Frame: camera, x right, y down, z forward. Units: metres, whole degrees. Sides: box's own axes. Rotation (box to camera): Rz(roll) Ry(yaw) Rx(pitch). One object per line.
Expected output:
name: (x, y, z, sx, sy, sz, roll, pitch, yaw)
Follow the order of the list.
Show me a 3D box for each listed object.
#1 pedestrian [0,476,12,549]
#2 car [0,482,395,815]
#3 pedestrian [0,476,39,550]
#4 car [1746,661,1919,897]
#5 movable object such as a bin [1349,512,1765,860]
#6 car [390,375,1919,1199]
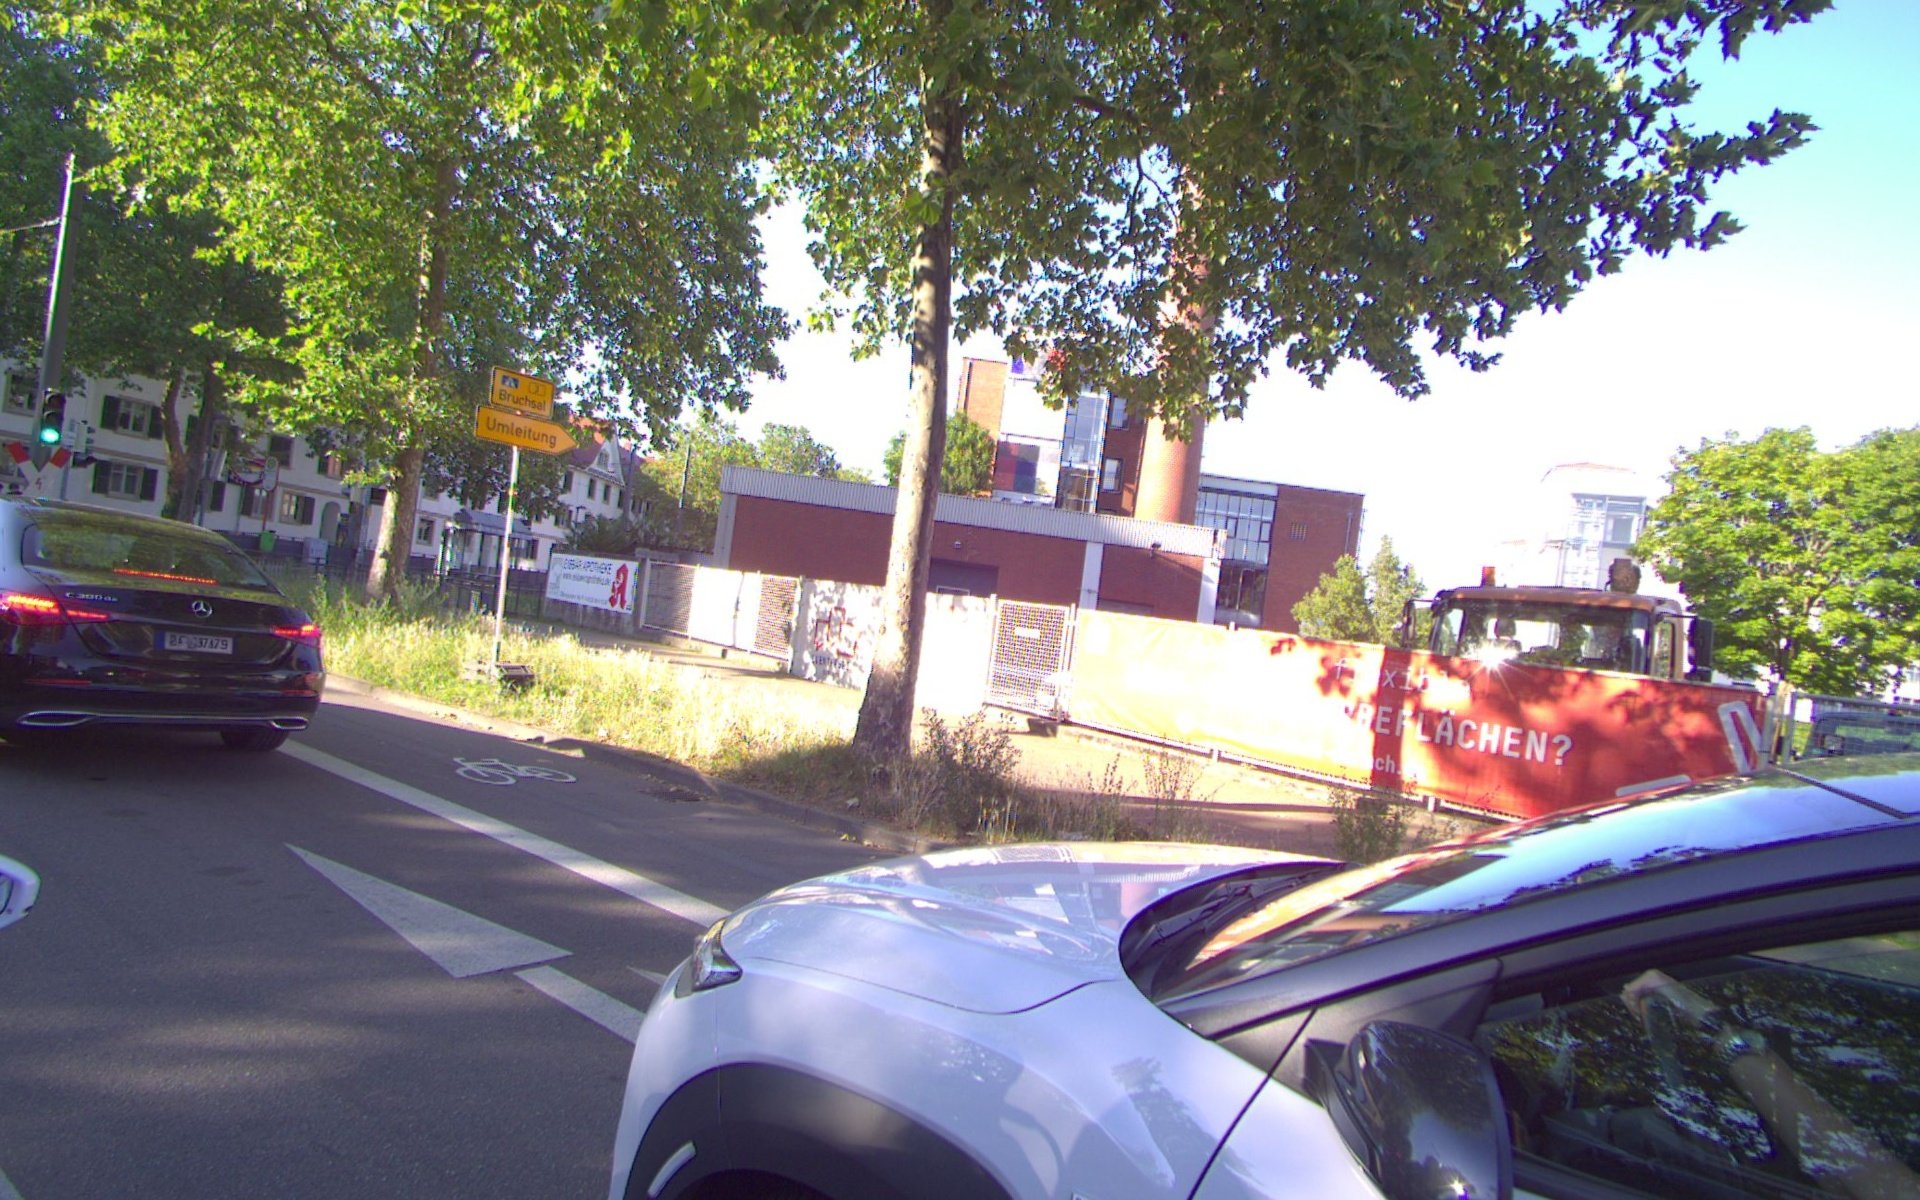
pedestrian: (-26.117, -2.396, 26.911, 0.825, 1.940, 0.707, 7, -1, 28)
car: (-5.955, 0.086, 6.656, 4.308, 1.508, 1.893, 9, -1, 32)
pedestrian: (-26.520, -2.431, 28.131, 0.825, 1.940, 0.707, 7, -1, 28)
car: (9.576, 1.819, 10.150, 2.016, 1.849, 4.583, 6, -3, 44)
movable object such as a bin: (7.647, 1.030, 12.408, 3.172, 3.084, 6.266, 6, -2, 41)
car: (1.247, 0.780, 1.395, 3.901, 1.616, 1.893, 9, -1, 33)
